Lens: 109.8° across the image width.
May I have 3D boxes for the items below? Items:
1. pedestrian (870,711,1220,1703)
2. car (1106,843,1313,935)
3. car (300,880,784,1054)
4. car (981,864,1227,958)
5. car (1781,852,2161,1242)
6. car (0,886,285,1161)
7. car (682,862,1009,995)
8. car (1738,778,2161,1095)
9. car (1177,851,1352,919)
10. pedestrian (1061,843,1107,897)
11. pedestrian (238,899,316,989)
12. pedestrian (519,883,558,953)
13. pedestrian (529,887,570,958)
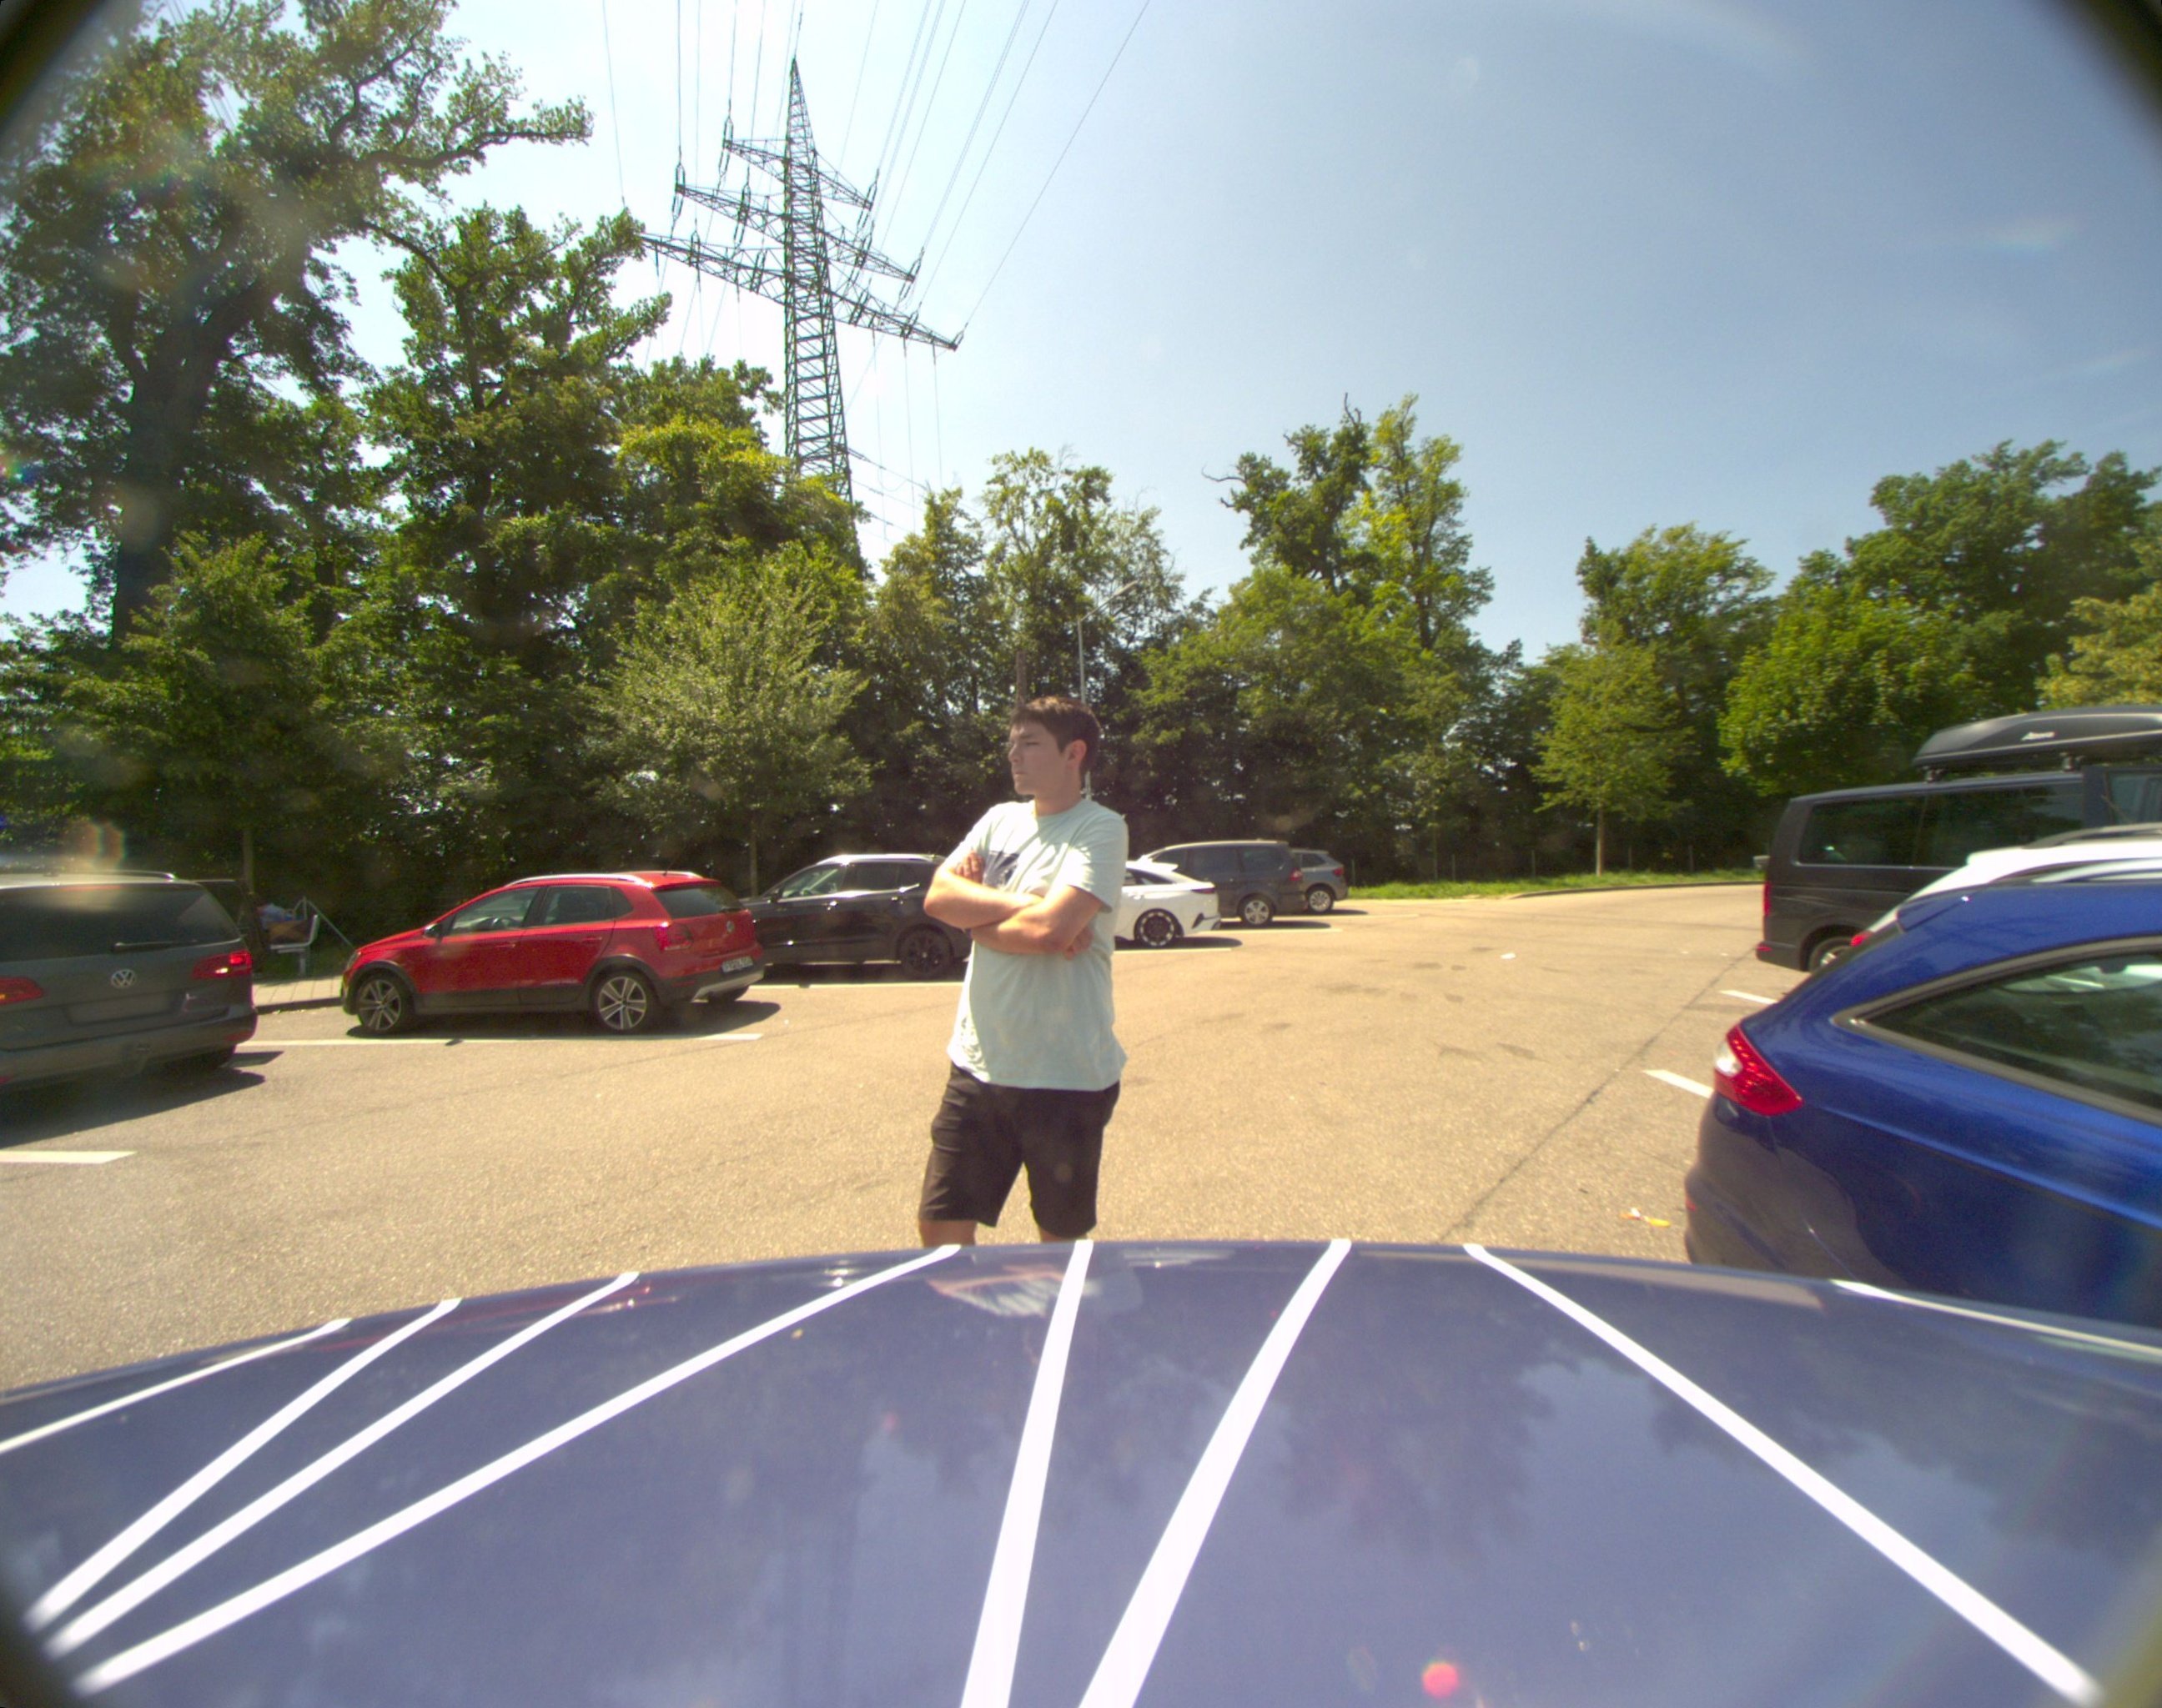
[{"bbox_3d":[-0.150,0.658,1.871,0.634,1.857,0.747,-2,0,-17],"label":"pedestrian"},{"bbox_3d":[2.514,0.680,15.477,3.882,1.680,1.882,-1,0,5],"label":"car"},{"bbox_3d":[-5.236,1.063,7.650,3.804,1.449,1.637,-1,1,7],"label":"car"},{"bbox_3d":[0.412,0.907,12.727,3.805,1.359,1.803,-1,1,5],"label":"car"},{"bbox_3d":[4.785,0.702,2.414,1.607,1.405,3.743,-2,-1,-1],"label":"car"},{"bbox_3d":[-8.337,1.093,5.434,3.950,1.581,1.753,-1,1,11],"label":"car"},{"bbox_3d":[-3.002,0.937,10.277,3.806,1.538,1.759,-1,1,2],"label":"car"},{"bbox_3d":[7.312,0.457,5.010,2.048,1.850,4.430,-2,-1,-1],"label":"car"},{"bbox_3d":[4.263,0.707,18.121,3.805,1.468,1.743,-1,1,5],"label":"car"},{"bbox_3d":[0.083,0.401,19.107,0.890,1.292,0.865,-2,0,16],"label":"pedestrian"},{"bbox_3d":[-11.728,1.299,11.086,0.680,1.211,0.675,-4,-2,36],"label":"pedestrian"},{"bbox_3d":[-10.949,1.278,15.326,0.490,1.367,0.506,-2,0,41],"label":"pedestrian"},{"bbox_3d":[-10.164,1.296,14.520,0.490,1.291,0.506,-2,0,41],"label":"pedestrian"}]
